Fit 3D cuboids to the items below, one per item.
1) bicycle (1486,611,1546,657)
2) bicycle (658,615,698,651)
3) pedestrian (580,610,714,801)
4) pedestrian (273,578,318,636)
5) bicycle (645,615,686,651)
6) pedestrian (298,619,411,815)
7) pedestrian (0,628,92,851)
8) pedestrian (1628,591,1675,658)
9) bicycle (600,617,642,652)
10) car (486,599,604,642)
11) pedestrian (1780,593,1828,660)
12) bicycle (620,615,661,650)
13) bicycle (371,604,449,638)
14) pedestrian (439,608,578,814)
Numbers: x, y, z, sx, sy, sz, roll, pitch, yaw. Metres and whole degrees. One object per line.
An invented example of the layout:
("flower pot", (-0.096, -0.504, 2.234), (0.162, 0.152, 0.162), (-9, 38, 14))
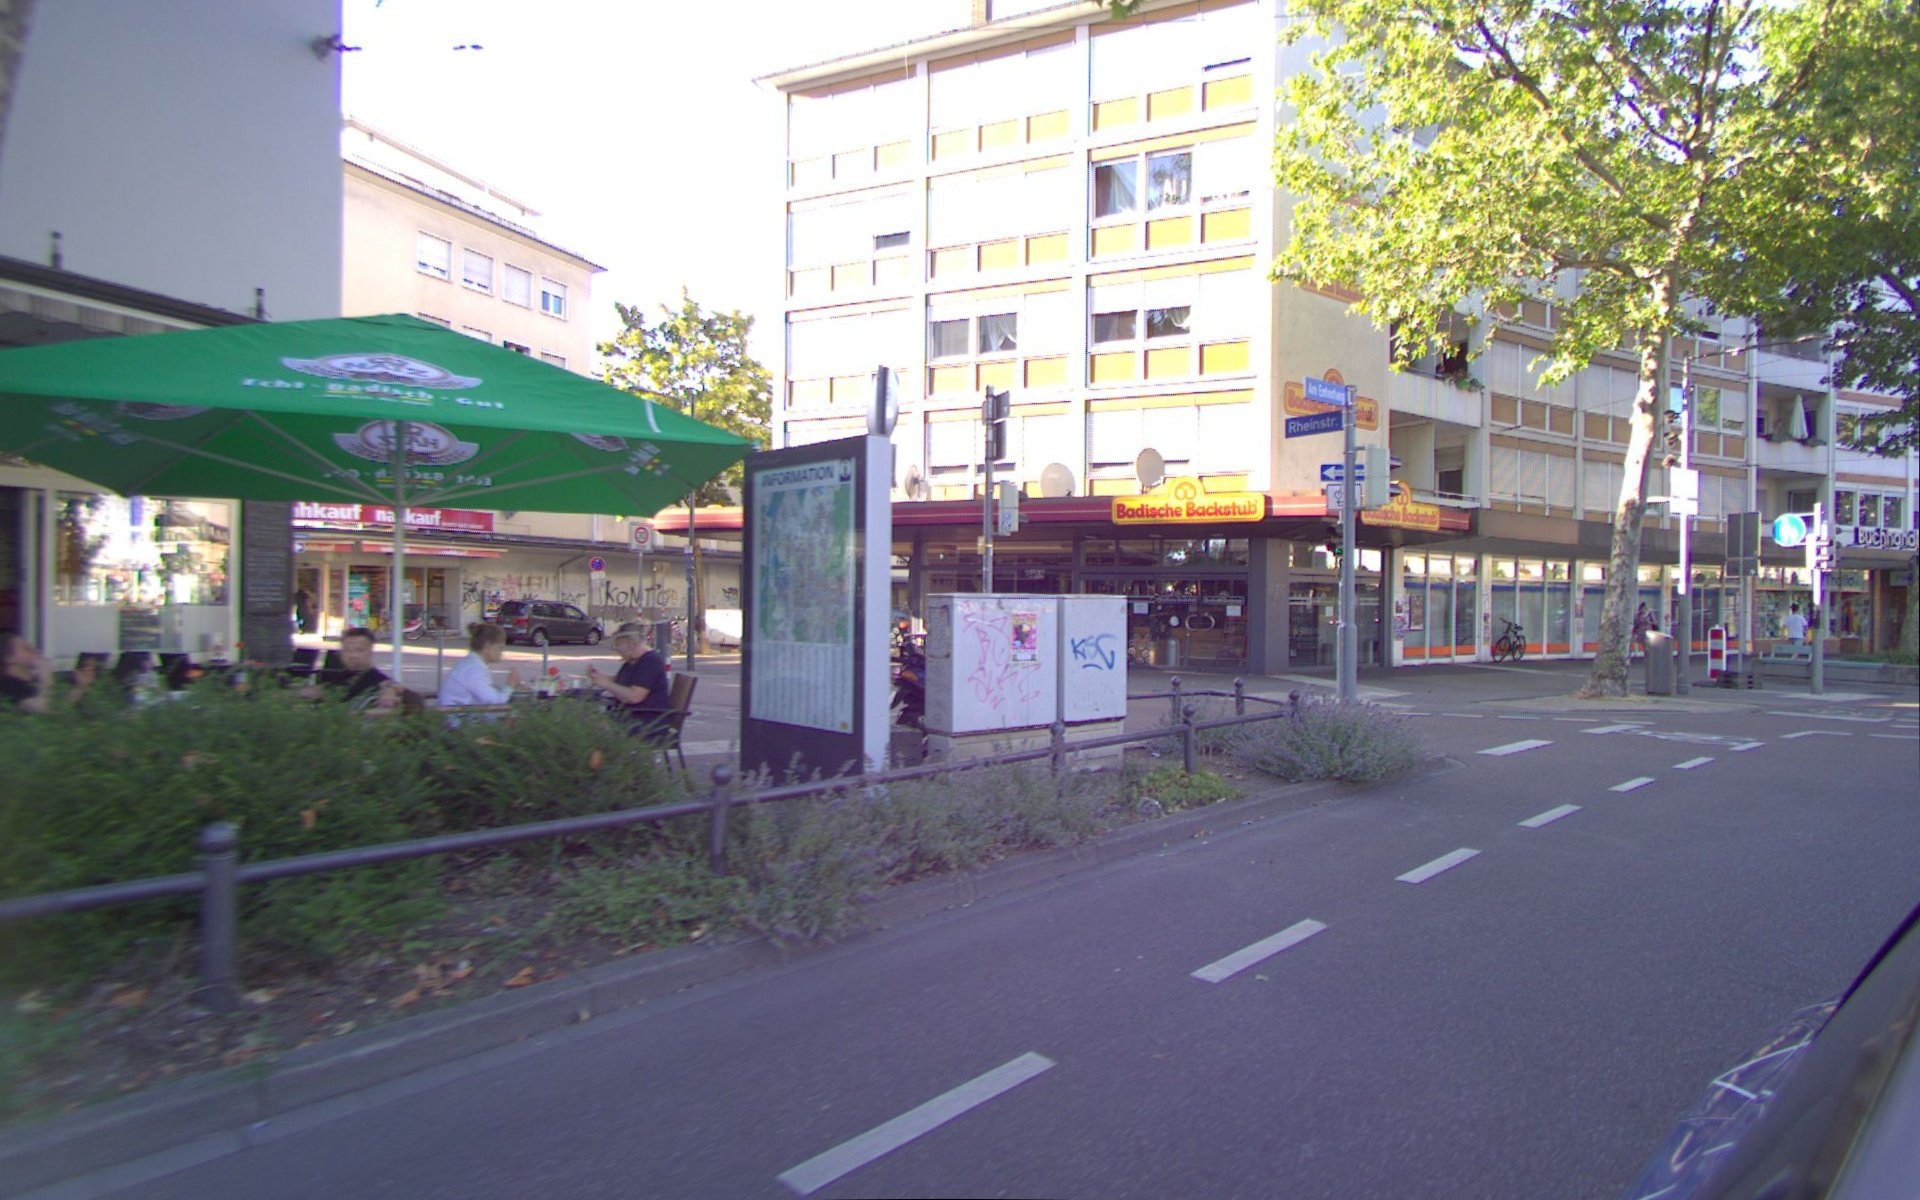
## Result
("bicycle", (14.579, 0.886, 26.518), (1.935, 1.157, 0.529), (1, 0, -33))
("bicycle", (-8.334, 0.973, 29.928), (0.383, 1.013, 1.419), (0, 0, 20))
("pedestrian", (-2.318, 0.729, 7.474), (0.753, 1.302, 0.719), (1, 0, -35))
("pedestrian", (-22.326, 0.216, 33.995), (0.941, 1.904, 0.898), (0, 0, 26))
("bicycle", (-8.744, 0.963, 30.088), (0.383, 1.013, 1.419), (0, 0, 20))
("pedestrian", (-4.069, 0.763, 6.821), (0.426, 1.235, 0.466), (2, 1, 14))
("pedestrian", (-5.456, 0.783, 5.864), (0.459, 1.235, 0.432), (0, -1, -1))
("pedestrian", (18.985, 0.660, 27.772), (0.884, 1.779, 0.751), (1, -1, -30))
("bicycle", (-10.257, 1.038, 30.638), (0.383, 1.013, 1.419), (0, 0, 20))
("car", (-15.405, 0.732, 37.791), (1.721, 1.505, 3.963), (0, 0, 27))
("pedestrian", (22.930, 0.703, 27.497), (0.884, 1.779, 0.751), (1, -1, -30))
("bicycle", (-9.579, 0.970, 30.393), (0.383, 1.013, 1.419), (0, 0, 20))
("bicycle", (-19.332, 0.728, 35.639), (0.708, 1.131, 2.521), (1, 0, 22))
("pedestrian", (-3.119, 0.714, 6.979), (0.753, 1.302, 0.720), (1, 0, -33))
